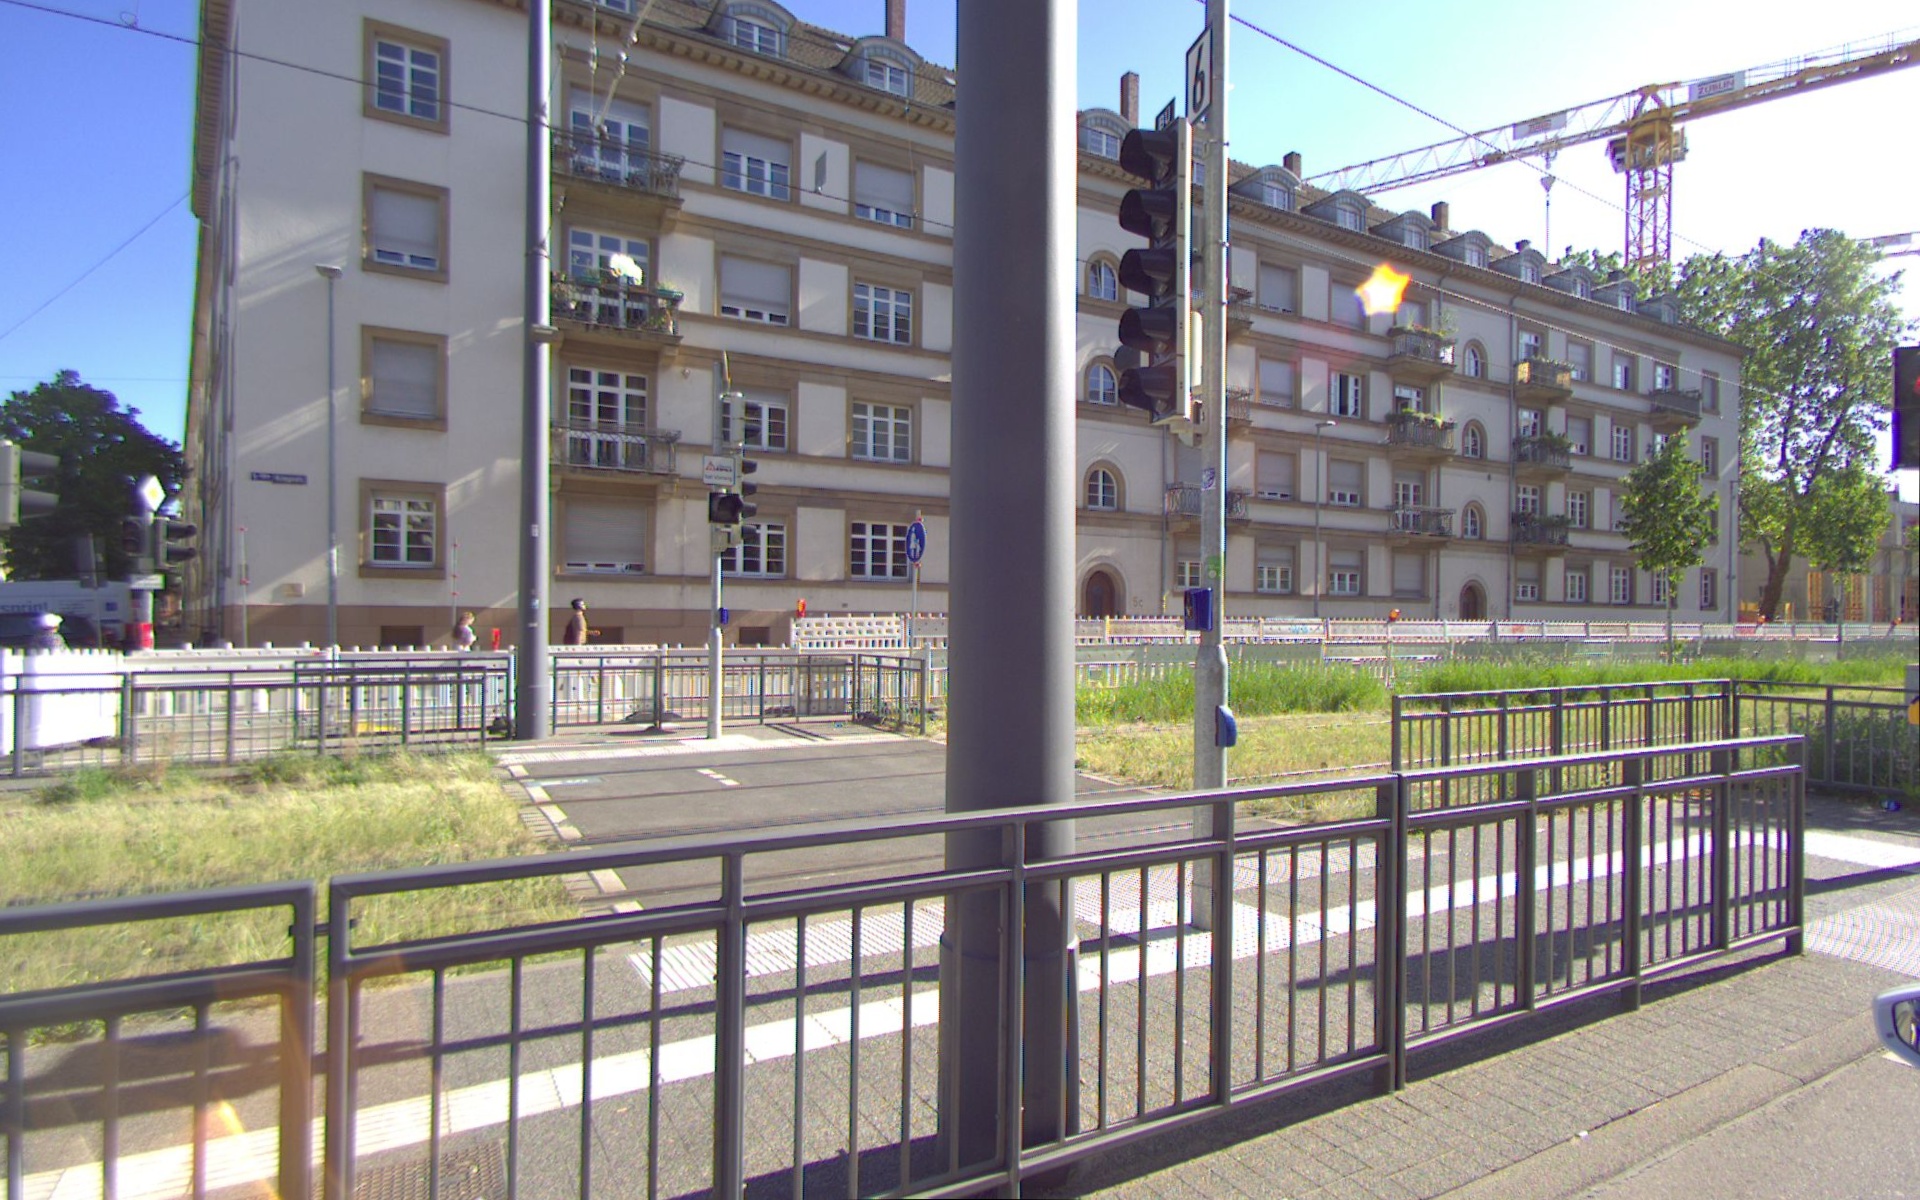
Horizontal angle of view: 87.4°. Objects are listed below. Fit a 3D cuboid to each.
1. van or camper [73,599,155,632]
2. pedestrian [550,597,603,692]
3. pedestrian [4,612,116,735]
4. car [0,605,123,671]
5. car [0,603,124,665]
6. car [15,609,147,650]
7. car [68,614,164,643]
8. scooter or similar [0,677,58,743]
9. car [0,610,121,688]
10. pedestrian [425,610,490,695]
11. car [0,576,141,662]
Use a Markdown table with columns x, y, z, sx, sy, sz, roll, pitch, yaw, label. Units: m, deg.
| x | y | z | sx | sy | sz | roll | pitch | yaw | label |
| --- | --- | --- | --- | --- | --- | --- | --- | --- | --- |
| -59.280 | 1.096 | 70.450 | 4.311 | 2.244 | 1.930 | 2 | 0 | -40 | van or camper |
| -7.840 | 0.896 | 20.509 | 0.861 | 1.888 | 0.763 | 2 | 0 | -30 | pedestrian |
| -11.503 | 0.922 | 12.865 | 0.698 | 1.524 | 0.805 | 0 | -1 | -5 | pedestrian |
| -24.915 | 0.987 | 26.702 | 3.965 | 1.662 | 1.849 | 2 | 0 | -38 | car |
| -26.294 | 0.953 | 28.411 | 3.965 | 1.662 | 1.849 | 2 | 0 | -38 | car |
| -36.283 | 1.216 | 41.605 | 3.965 | 1.576 | 1.848 | 2 | 0 | -39 | car |
| -46.168 | 1.565 | 55.055 | 3.967 | 1.449 | 1.758 | 2 | 0 | -40 | car |
| -11.452 | 1.313 | 12.063 | 0.698 | 0.729 | 0.606 | 1 | -1 | -9 | scooter or similar |
| -21.582 | 1.069 | 22.565 | 3.959 | 1.662 | 1.851 | 2 | 0 | -34 | car |
| -9.424 | 0.967 | 18.834 | 1.009 | 1.538 | 0.783 | 2 | 0 | -30 | pedestrian |
| -28.149 | 0.543 | 29.969 | 5.710 | 2.487 | 1.977 | 2 | 0 | -40 | car |
